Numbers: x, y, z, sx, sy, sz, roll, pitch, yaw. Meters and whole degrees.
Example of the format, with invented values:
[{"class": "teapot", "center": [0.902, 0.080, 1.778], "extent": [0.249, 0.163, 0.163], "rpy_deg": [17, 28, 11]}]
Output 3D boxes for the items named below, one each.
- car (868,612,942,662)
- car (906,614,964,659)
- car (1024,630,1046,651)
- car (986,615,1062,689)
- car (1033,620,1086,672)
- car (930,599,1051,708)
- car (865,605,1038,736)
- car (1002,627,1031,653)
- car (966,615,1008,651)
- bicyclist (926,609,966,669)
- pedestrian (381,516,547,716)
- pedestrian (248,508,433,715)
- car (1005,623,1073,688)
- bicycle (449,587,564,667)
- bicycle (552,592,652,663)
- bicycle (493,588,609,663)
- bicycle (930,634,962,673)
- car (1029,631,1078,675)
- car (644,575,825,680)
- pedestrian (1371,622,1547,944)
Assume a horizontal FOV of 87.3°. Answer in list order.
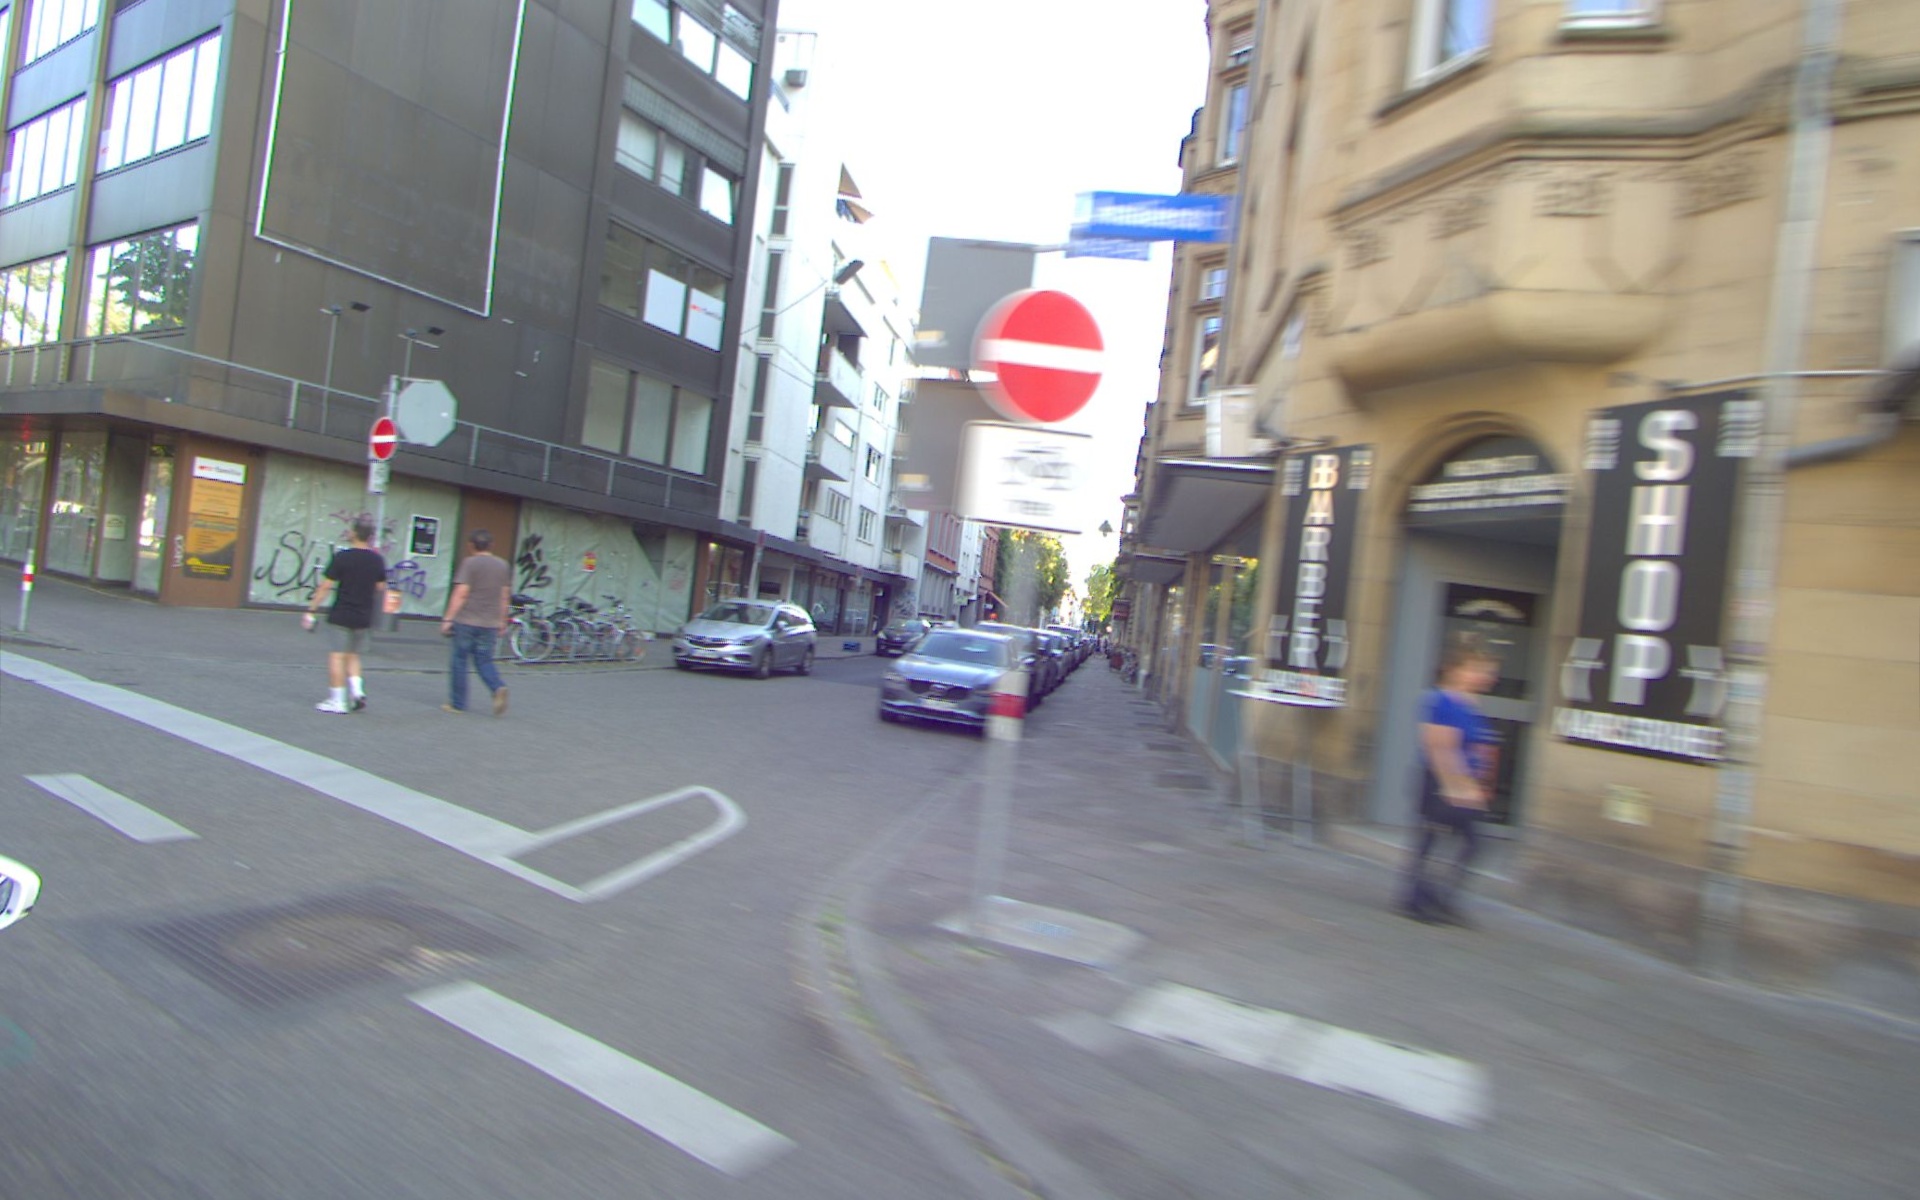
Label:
[{"class": "car", "center": [-1.948, 1.367, 36.824], "extent": [1.746, 1.514, 3.835], "rpy_deg": [7, -1, 10]}, {"class": "car", "center": [-1.006, 1.601, 42.766], "extent": [1.593, 1.633, 3.491], "rpy_deg": [7, -2, 10]}, {"class": "car", "center": [7.035, 3.787, 94.164], "extent": [1.627, 1.732, 3.785], "rpy_deg": [7, -2, 9]}, {"class": "car", "center": [1.811, 1.413, 27.380], "extent": [1.598, 1.668, 4.005], "rpy_deg": [7, -2, 8]}, {"class": "car", "center": [4.655, 2.160, 46.591], "extent": [1.962, 2.037, 4.833], "rpy_deg": [7, -2, 9]}, {"class": "car", "center": [0.775, 1.121, 21.339], "extent": [1.906, 1.832, 4.430], "rpy_deg": [7, -2, 8]}, {"class": "car", "center": [0.060, 1.055, 15.758], "extent": [1.892, 1.505, 4.694], "rpy_deg": [7, -2, 8]}, {"class": "car", "center": [4.402, 3.140, 78.029], "extent": [1.697, 1.706, 3.664], "rpy_deg": [7, -2, 10]}, {"class": "car", "center": [1.580, 1.928, 57.877], "extent": [1.746, 1.715, 3.583], "rpy_deg": [7, -2, 10]}, {"class": "bicyclist", "center": [-0.415, 1.179, 30.343], "extent": [0.934, 1.648, 0.739], "rpy_deg": [7, -1, 7]}, {"class": "pedestrian", "center": [-4.867, 0.157, 9.875], "extent": [1.202, 1.788, 0.756], "rpy_deg": [7, -1, 32]}, {"class": "pedestrian", "center": [-5.516, 0.103, 8.954], "extent": [1.238, 1.659, 0.756], "rpy_deg": [7, -1, 32]}, {"class": "car", "center": [2.634, 1.789, 32.663], "extent": [1.768, 1.752, 4.005], "rpy_deg": [7, -2, 8]}, {"class": "bicycle", "center": [-7.206, 0.422, 15.984], "extent": [1.658, 1.043, 0.416], "rpy_deg": [7, 0, 14]}, {"class": "bicycle", "center": [-6.652, 0.511, 18.679], "extent": [1.658, 1.107, 0.416], "rpy_deg": [7, -1, 11]}, {"class": "bicycle", "center": [-7.018, 0.439, 17.286], "extent": [1.742, 1.050, 0.416], "rpy_deg": [8, 0, 6]}, {"class": "bicycle", "center": [-0.397, 1.627, 30.513], "extent": [0.500, 1.064, 2.236], "rpy_deg": [7, -2, 8]}, {"class": "car", "center": [3.736, 2.088, 39.792], "extent": [1.626, 1.460, 3.781], "rpy_deg": [7, -2, 8]}, {"class": "car", "center": [-4.287, 0.592, 19.904], "extent": [1.962, 1.599, 4.257], "rpy_deg": [7, -2, 8]}, {"class": "pedestrian", "center": [2.779, 1.001, 5.622], "extent": [0.578, 1.686, 0.421], "rpy_deg": [8, -1, -17]}]
